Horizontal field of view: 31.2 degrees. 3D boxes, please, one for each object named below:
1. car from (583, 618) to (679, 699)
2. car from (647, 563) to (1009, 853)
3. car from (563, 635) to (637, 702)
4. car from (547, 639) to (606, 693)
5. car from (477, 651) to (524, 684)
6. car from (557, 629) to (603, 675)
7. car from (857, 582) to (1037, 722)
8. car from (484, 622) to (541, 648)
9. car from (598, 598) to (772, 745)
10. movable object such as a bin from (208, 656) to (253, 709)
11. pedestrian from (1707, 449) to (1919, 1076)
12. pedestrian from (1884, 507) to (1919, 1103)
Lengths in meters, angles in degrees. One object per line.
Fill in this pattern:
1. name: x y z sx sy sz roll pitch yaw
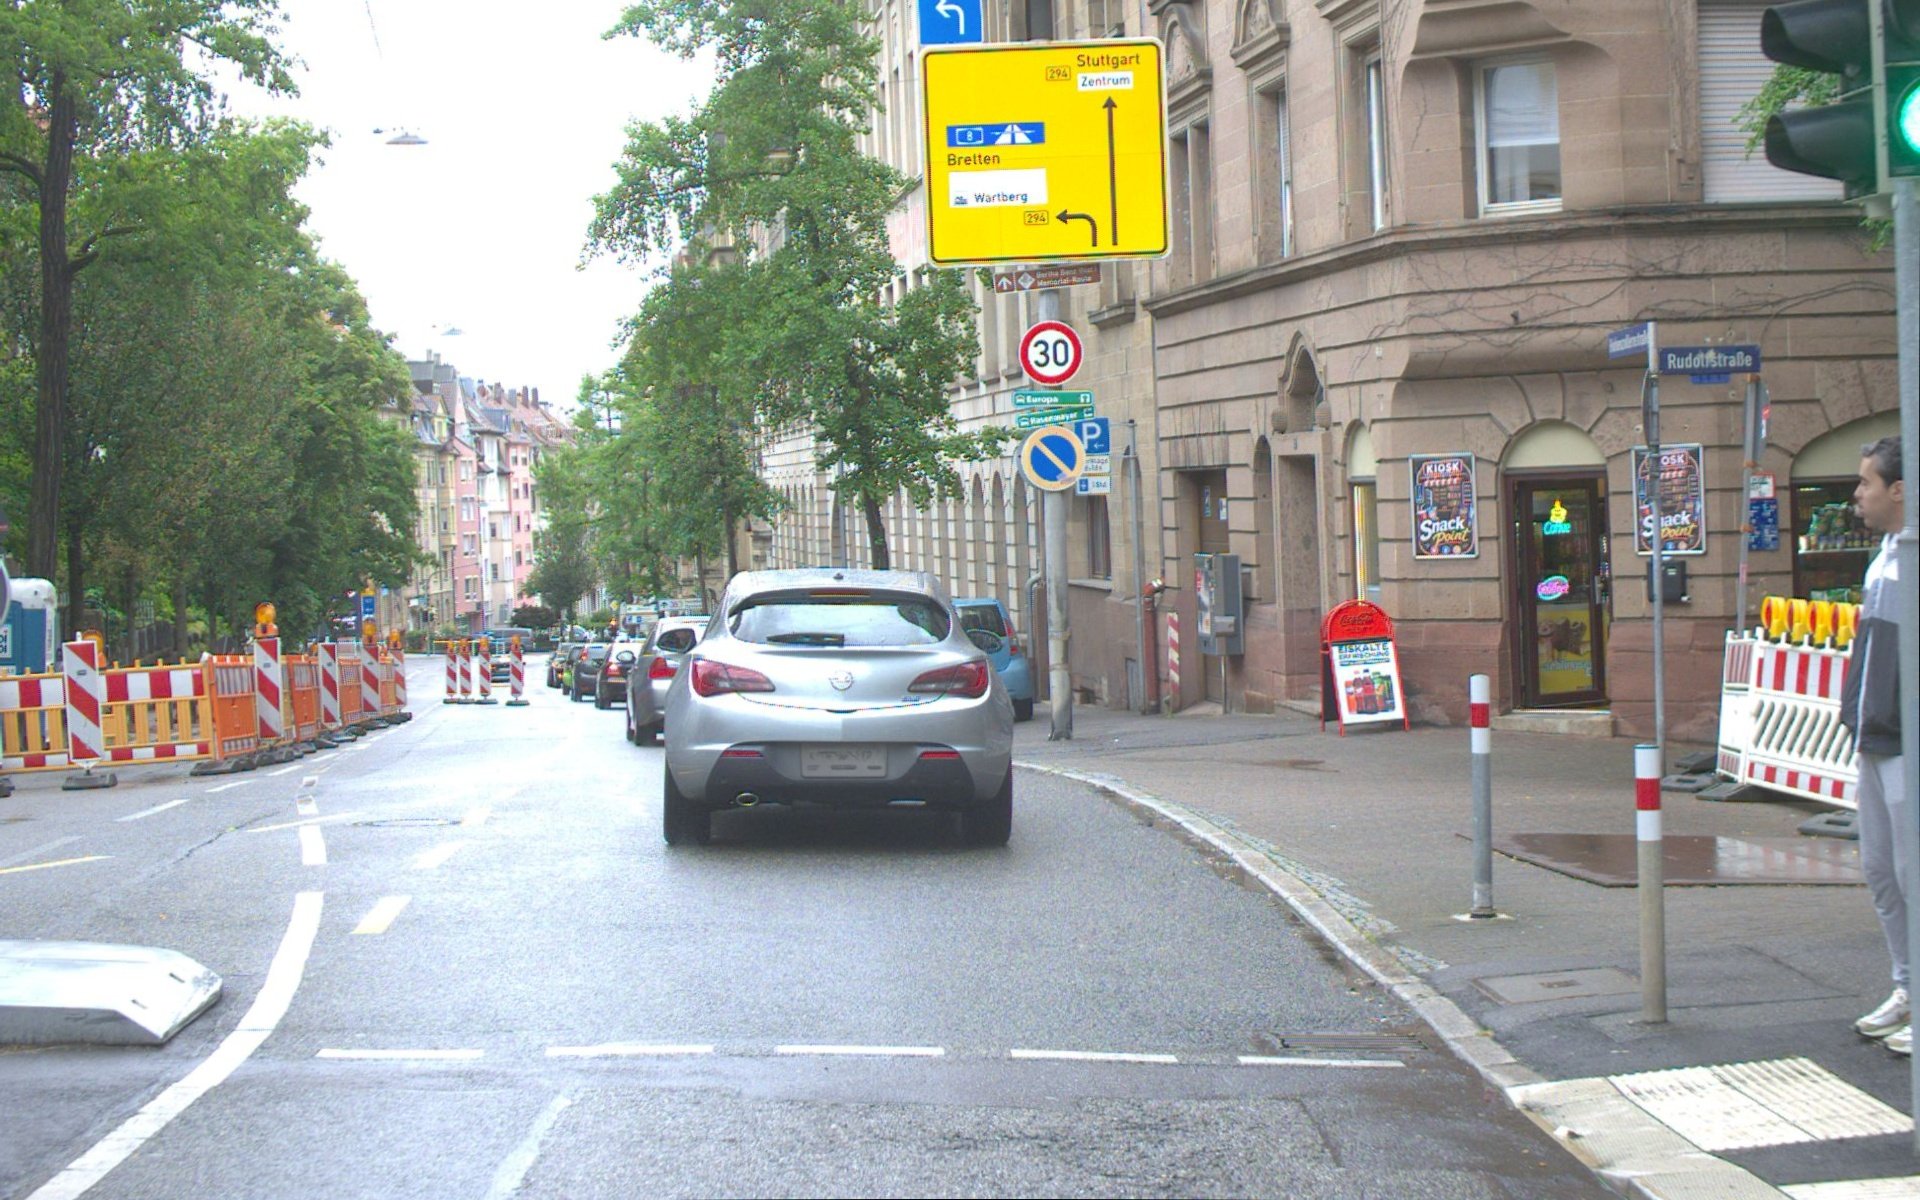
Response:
1. car: -6.907 1.227 71.899 1.656 1.538 3.666 -4 -1 -10
2. car: -0.738 0.557 19.217 1.811 1.445 3.869 0 0 -2
3. car: -9.098 1.719 86.662 1.656 1.538 3.666 -4 -1 -8
4. car: -11.840 2.042 105.971 1.656 1.538 3.666 -4 -1 -8
5. car: -21.586 3.166 161.388 1.993 1.496 4.001 -1 -1 -10
6. car: -16.216 2.215 146.531 1.715 1.776 3.666 -5 0 -8
7. car: -0.201 0.649 42.232 1.656 1.538 3.666 -4 -1 -8
8. car: -31.639 2.496 243.012 3.986 1.744 2.000 1 -2 -7
9. car: -3.003 0.755 37.402 1.772 1.499 3.869 0 0 -5
10. movable object such as a bin: -17.052 1.925 80.361 0.944 1.210 0.856 0 -1 -6
11. pedestrian: 2.741 0.450 10.101 0.664 1.768 0.720 -4 1 -42
12. pedestrian: 2.733 0.538 8.809 0.597 1.579 0.665 -3 1 13
